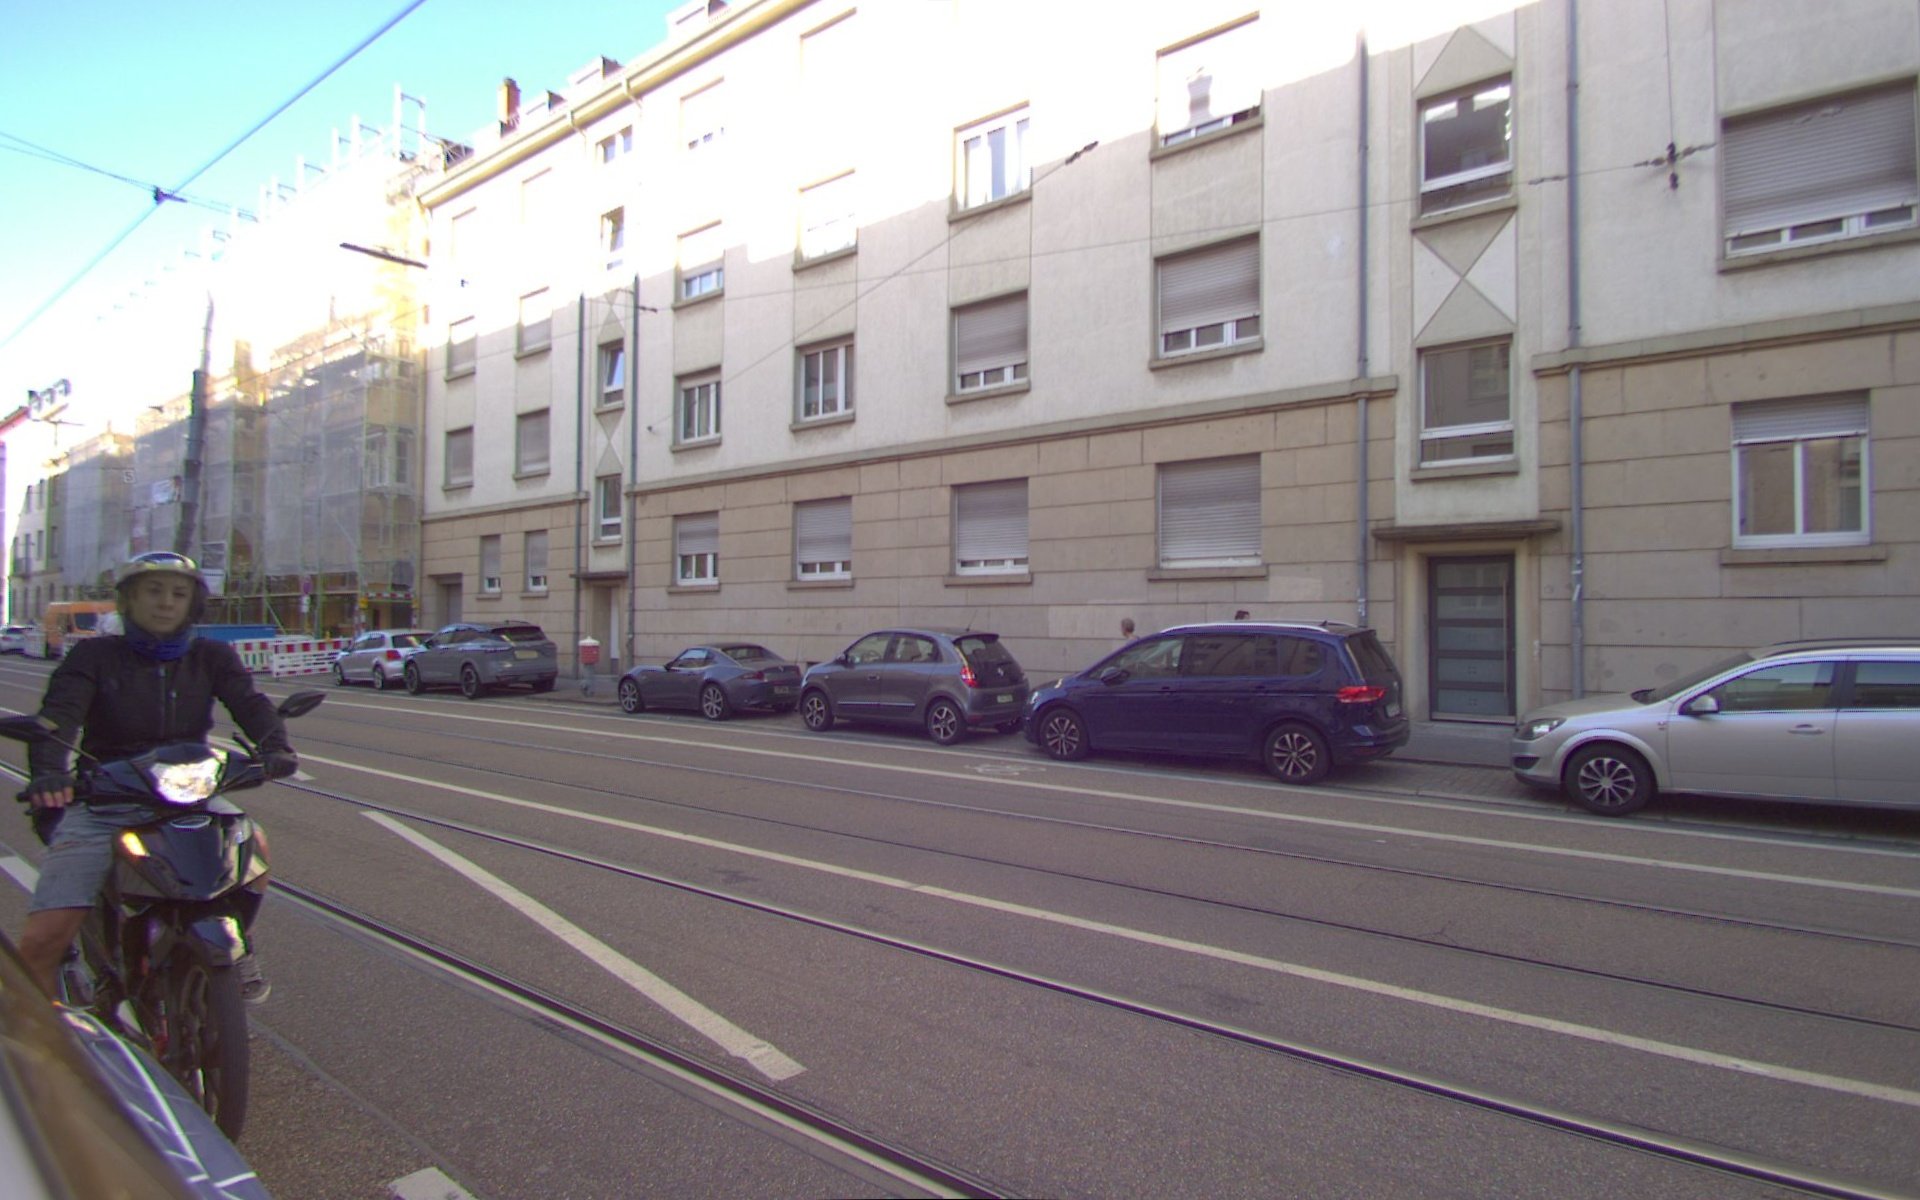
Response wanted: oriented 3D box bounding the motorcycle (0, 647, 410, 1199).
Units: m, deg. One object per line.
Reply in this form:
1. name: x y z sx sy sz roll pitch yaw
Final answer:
1. motorcycle: -2.632 0.817 3.237 2.272 1.302 0.781 -2 -3 41

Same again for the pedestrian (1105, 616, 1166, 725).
1. pedestrian: 2.571 1.013 14.811 0.693 1.553 0.563 -2 -3 39

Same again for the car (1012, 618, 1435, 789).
1. car: 2.900 1.033 11.675 4.383 1.611 1.779 -1 -1 38

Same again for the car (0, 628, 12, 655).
1. car: -54.574 2.324 56.817 3.964 1.498 1.662 -2 -1 42

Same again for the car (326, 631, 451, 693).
1. car: -14.377 1.498 25.396 3.506 1.423 1.524 -1 -1 38

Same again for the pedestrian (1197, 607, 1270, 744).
1. pedestrian: 3.569 0.965 13.218 0.729 1.722 0.597 -2 -3 39

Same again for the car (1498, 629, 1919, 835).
1. car: 7.134 1.003 8.501 4.383 1.489 1.779 -1 -1 38

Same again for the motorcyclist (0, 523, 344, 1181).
1. motorcyclist: -2.535 0.656 3.159 0.899 1.668 0.781 -2 -3 41

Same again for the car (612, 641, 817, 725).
1. car: -4.306 1.366 17.500 3.681 1.244 1.502 -1 -1 38

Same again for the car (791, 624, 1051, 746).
1. car: -0.621 1.133 14.654 3.535 1.539 1.659 -1 -1 38

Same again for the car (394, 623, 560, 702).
1. car: -10.875 1.334 22.659 4.201 1.611 1.675 -1 -1 38

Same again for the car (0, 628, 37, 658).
1. car: -50.058 2.269 53.340 3.964 1.498 1.662 -2 -1 42
